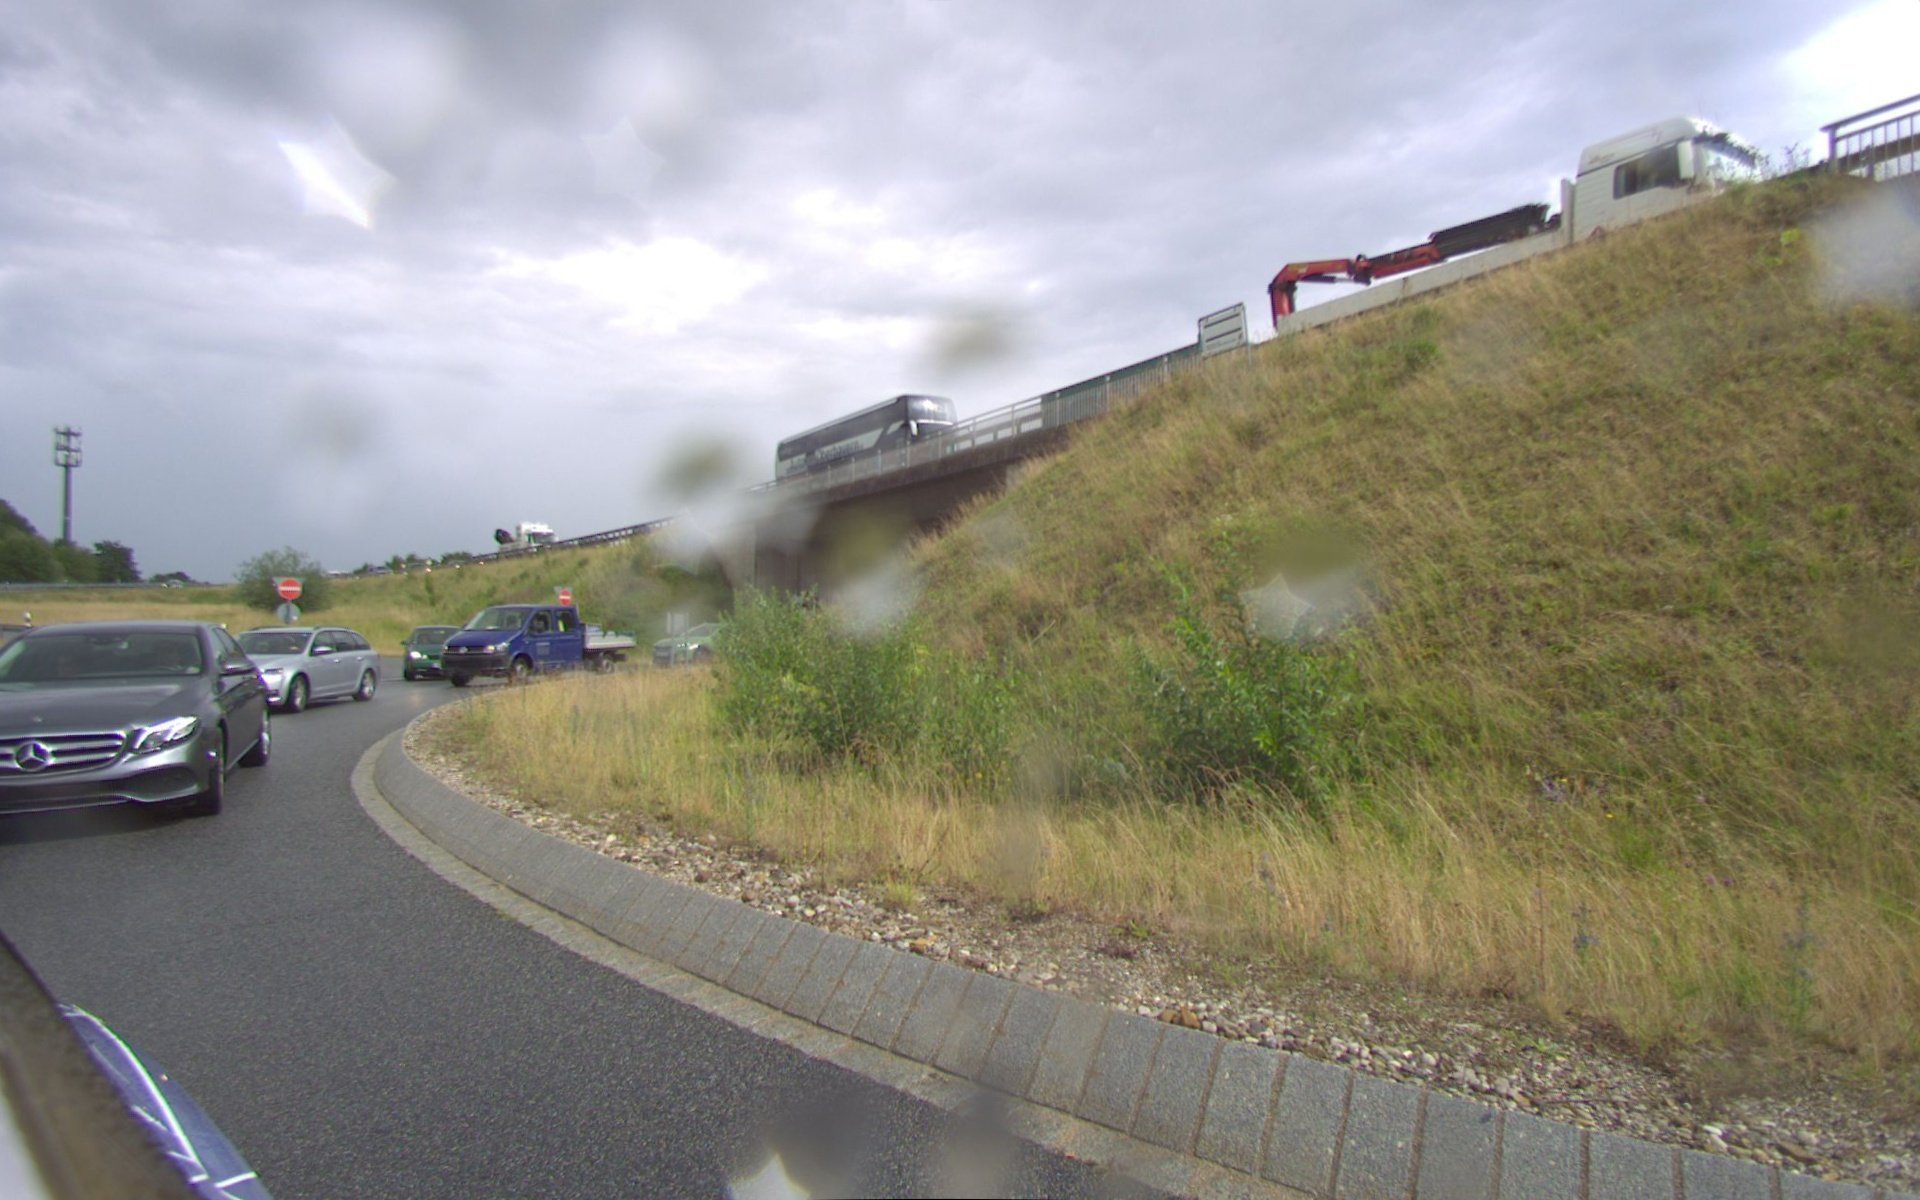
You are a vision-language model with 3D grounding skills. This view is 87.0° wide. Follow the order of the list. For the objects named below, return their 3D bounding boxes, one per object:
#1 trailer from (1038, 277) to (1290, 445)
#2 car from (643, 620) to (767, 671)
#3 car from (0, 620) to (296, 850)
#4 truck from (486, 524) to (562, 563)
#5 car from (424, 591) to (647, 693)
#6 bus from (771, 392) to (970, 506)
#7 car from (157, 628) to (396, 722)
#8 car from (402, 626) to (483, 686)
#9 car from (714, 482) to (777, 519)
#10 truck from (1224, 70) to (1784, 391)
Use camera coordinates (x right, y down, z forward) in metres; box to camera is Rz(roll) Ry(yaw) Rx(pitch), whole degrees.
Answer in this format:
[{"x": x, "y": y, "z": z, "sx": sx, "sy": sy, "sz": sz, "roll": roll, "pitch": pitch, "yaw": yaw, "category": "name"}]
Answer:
[{"x": 5.570, "y": -6.634, "z": 29.538, "sx": 2.150, "sy": 2.893, "sz": 8.357, "roll": -1, "pitch": 0, "yaw": -30, "category": "trailer"}, {"x": -8.179, "y": 1.449, "z": 32.769, "sx": 1.568, "sy": 1.548, "sz": 3.884, "roll": -1, "pitch": -2, "yaw": 33, "category": "car"}, {"x": -6.900, "y": 0.916, "z": 8.388, "sx": 1.741, "sy": 1.402, "sz": 4.606, "roll": -1, "pitch": -1, "yaw": -26, "category": "car"}, {"x": -41.497, "y": -5.270, "z": 96.138, "sx": 9.278, "sy": 3.218, "sz": 3.117, "roll": -1, "pitch": 0, "yaw": 43, "category": "truck"}, {"x": -10.381, "y": 0.933, "z": 25.374, "sx": 1.878, "sy": 1.929, "sz": 5.652, "roll": -3, "pitch": 3, "yaw": 17, "category": "car"}, {"x": -4.598, "y": -6.485, "z": 45.986, "sx": 2.569, "sy": 3.103, "sz": 14.505, "roll": -1, "pitch": 0, "yaw": -33, "category": "bus"}, {"x": -11.684, "y": 1.222, "z": 17.695, "sx": 1.769, "sy": 1.409, "sz": 4.358, "roll": 1, "pitch": -2, "yaw": -9, "category": "car"}, {"x": -14.126, "y": 1.470, "z": 27.517, "sx": 1.744, "sy": 1.496, "sz": 3.845, "roll": 1, "pitch": -2, "yaw": -30, "category": "car"}, {"x": -12.429, "y": -5.726, "z": 58.514, "sx": 1.687, "sy": 1.536, "sz": 4.504, "roll": -12, "pitch": 7, "yaw": -35, "category": "car"}, {"x": 10.298, "y": -6.945, "z": 21.313, "sx": 2.169, "sy": 2.895, "sz": 10.858, "roll": -1, "pitch": 0, "yaw": -30, "category": "truck"}]
